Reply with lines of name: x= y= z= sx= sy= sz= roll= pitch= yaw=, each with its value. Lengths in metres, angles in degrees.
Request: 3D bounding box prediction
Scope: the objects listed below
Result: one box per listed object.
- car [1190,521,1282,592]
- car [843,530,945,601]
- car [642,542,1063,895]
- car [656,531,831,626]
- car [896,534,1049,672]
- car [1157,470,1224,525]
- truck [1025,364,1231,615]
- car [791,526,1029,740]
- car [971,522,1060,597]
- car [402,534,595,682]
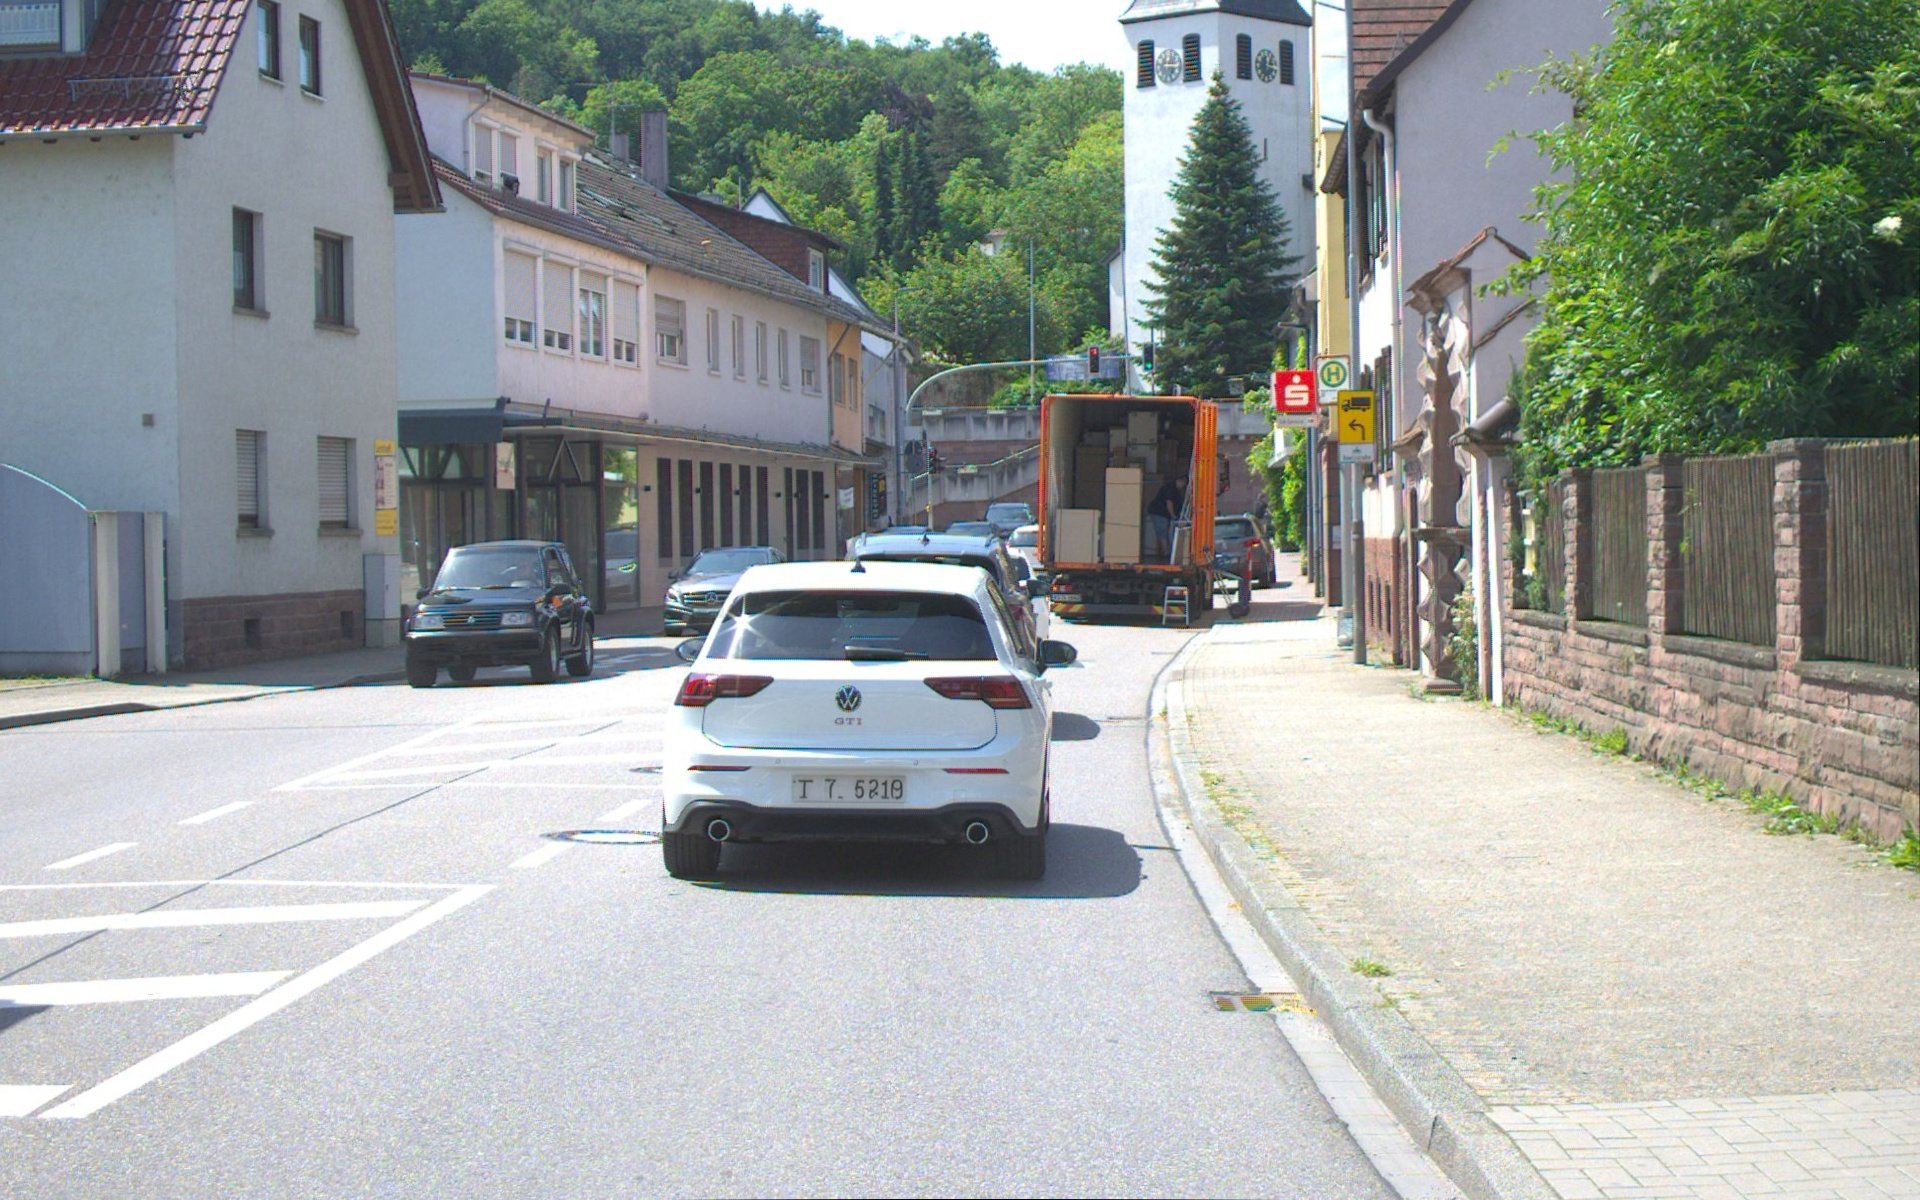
car: x=6.240 y=-0.973 z=78.152 sx=1.815 sy=1.514 sz=4.000 roll=-2 pitch=0 yaw=1
car: x=-1.455 y=-0.787 z=77.567 sx=1.796 sy=1.503 sz=4.133 roll=-2 pitch=0 yaw=6
car: x=-0.422 y=0.497 z=16.878 sx=1.815 sy=1.514 sz=4.000 roll=0 pitch=0 yaw=1
car: x=-3.475 y=-0.360 z=55.965 sx=1.864 sy=1.437 sz=4.215 roll=-2 pitch=0 yaw=10
car: x=0.200 y=0.018 z=43.928 sx=1.815 sy=1.623 sz=4.000 roll=-2 pitch=0 yaw=1
car: x=6.963 y=-3.078 z=104.129 sx=1.815 sy=1.514 sz=4.000 roll=-2 pitch=0 yaw=1
truck: x=3.139 y=-1.910 z=63.106 sx=3.367 sy=4.156 sz=9.518 roll=-2 pitch=0 yaw=4
car: x=-0.350 y=0.247 z=28.998 sx=1.815 sy=1.623 sz=4.000 roll=-2 pitch=0 yaw=1
car: x=1.195 y=-0.852 z=73.946 sx=1.815 sy=1.514 sz=4.000 roll=-2 pitch=0 yaw=1
car: x=-5.400 y=0.059 z=40.578 sx=1.739 sy=1.645 sz=3.668 roll=-1 pitch=1 yaw=1
